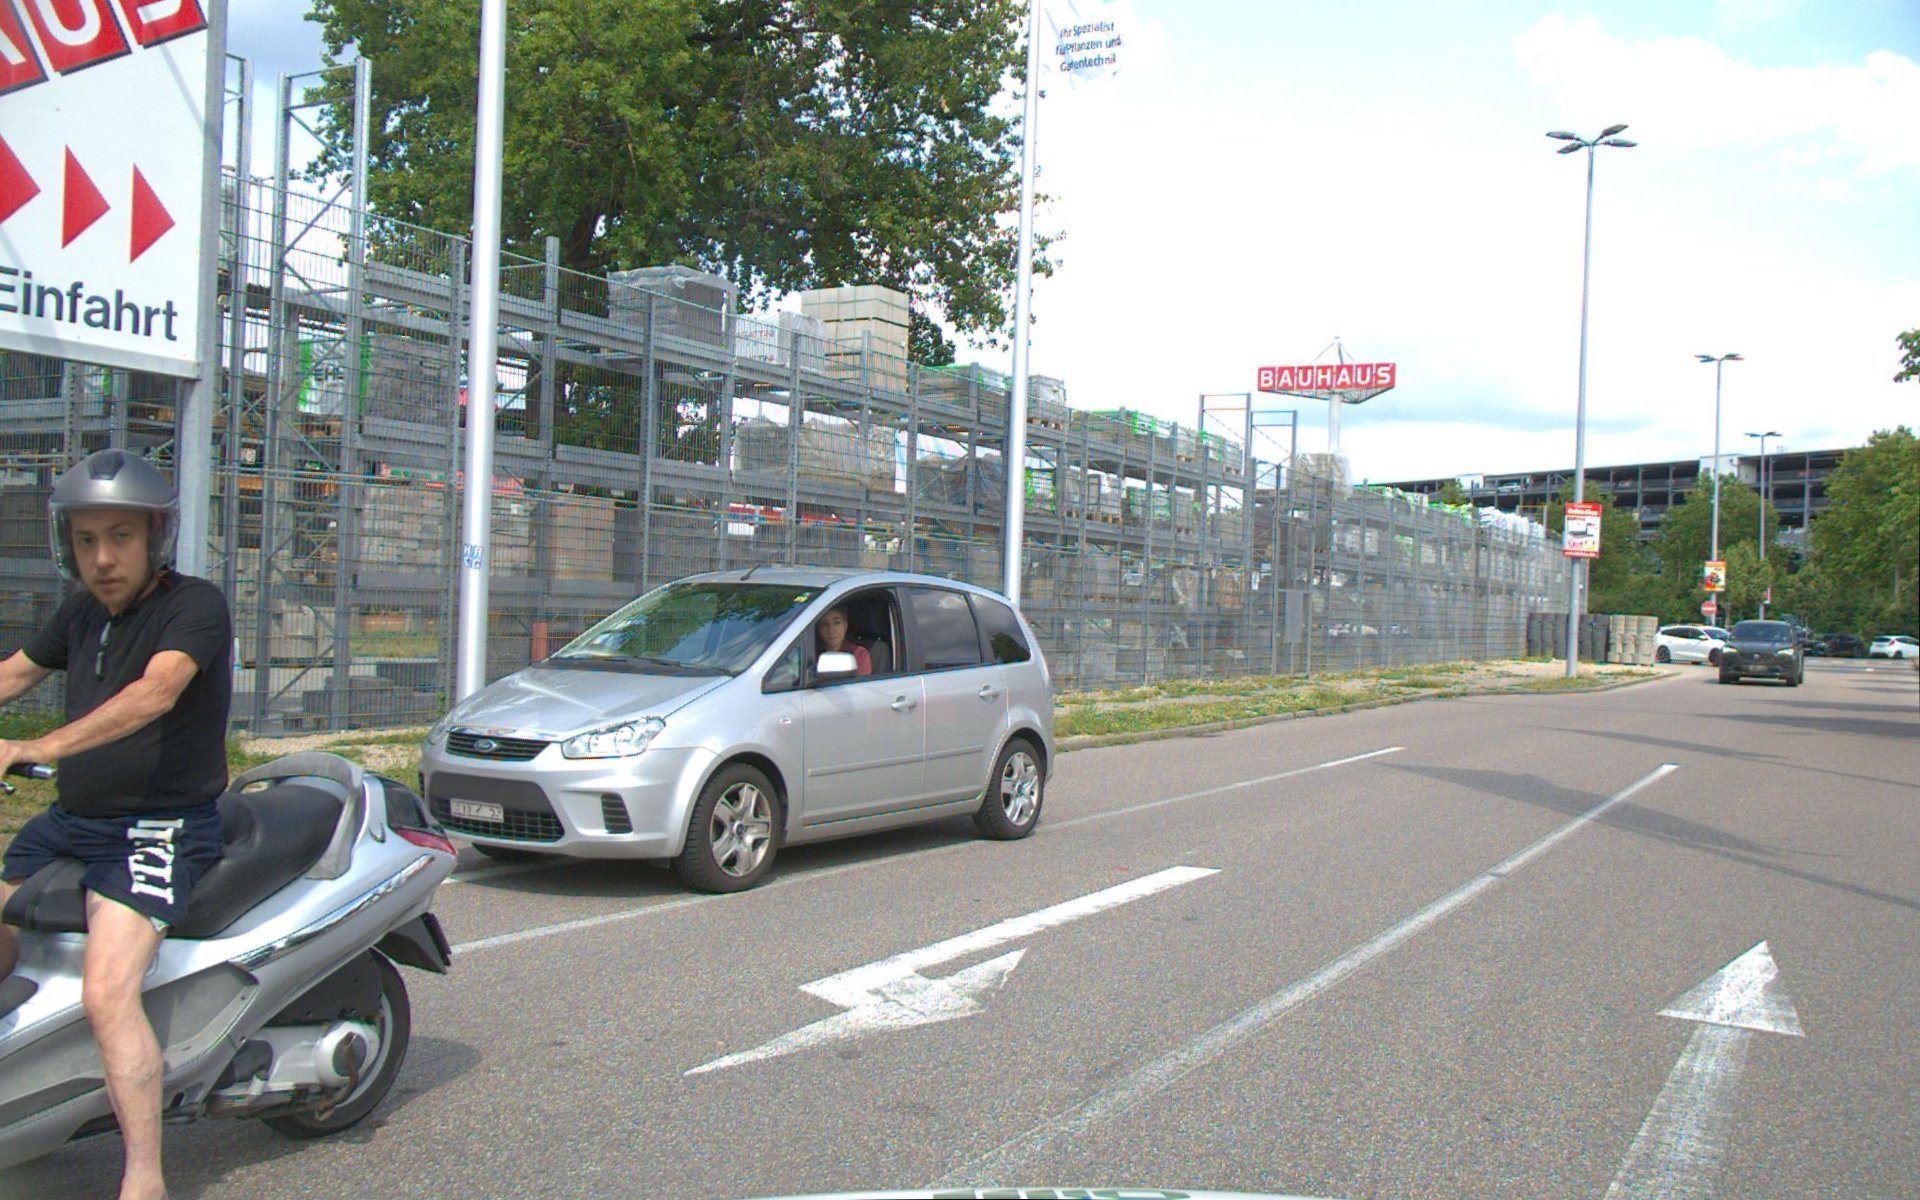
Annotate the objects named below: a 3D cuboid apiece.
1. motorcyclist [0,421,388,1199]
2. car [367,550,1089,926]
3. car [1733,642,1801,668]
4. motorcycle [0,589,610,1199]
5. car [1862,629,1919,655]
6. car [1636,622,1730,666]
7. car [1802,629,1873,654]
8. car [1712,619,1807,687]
[{"bbox_3d":[-1.807,0.487,3.611,0.772,1.657,0.684,2,0,33],"label":"motorcyclist"},{"bbox_3d":[-1.021,0.617,9.328,1.687,1.592,4.198,2,0,32],"label":"car"},{"bbox_3d":[51.974,3.549,106.472,4.013,1.536,1.678,2,-6,-23],"label":"car"},{"bbox_3d":[-1.809,0.651,3.608,0.658,1.328,2.207,2,0,33],"label":"motorcycle"},{"bbox_3d":[55.167,2.502,97.470,3.495,1.436,1.660,2,0,-21],"label":"car"},{"bbox_3d":[27.267,1.657,62.398,1.519,1.541,2.853,2,0,-40],"label":"car"},{"bbox_3d":[53.799,2.547,101.403,4.176,1.435,1.719,2,0,-26],"label":"car"},{"bbox_3d":[20.980,1.341,43.332,1.880,1.646,4.364,1,0,30],"label":"car"}]
